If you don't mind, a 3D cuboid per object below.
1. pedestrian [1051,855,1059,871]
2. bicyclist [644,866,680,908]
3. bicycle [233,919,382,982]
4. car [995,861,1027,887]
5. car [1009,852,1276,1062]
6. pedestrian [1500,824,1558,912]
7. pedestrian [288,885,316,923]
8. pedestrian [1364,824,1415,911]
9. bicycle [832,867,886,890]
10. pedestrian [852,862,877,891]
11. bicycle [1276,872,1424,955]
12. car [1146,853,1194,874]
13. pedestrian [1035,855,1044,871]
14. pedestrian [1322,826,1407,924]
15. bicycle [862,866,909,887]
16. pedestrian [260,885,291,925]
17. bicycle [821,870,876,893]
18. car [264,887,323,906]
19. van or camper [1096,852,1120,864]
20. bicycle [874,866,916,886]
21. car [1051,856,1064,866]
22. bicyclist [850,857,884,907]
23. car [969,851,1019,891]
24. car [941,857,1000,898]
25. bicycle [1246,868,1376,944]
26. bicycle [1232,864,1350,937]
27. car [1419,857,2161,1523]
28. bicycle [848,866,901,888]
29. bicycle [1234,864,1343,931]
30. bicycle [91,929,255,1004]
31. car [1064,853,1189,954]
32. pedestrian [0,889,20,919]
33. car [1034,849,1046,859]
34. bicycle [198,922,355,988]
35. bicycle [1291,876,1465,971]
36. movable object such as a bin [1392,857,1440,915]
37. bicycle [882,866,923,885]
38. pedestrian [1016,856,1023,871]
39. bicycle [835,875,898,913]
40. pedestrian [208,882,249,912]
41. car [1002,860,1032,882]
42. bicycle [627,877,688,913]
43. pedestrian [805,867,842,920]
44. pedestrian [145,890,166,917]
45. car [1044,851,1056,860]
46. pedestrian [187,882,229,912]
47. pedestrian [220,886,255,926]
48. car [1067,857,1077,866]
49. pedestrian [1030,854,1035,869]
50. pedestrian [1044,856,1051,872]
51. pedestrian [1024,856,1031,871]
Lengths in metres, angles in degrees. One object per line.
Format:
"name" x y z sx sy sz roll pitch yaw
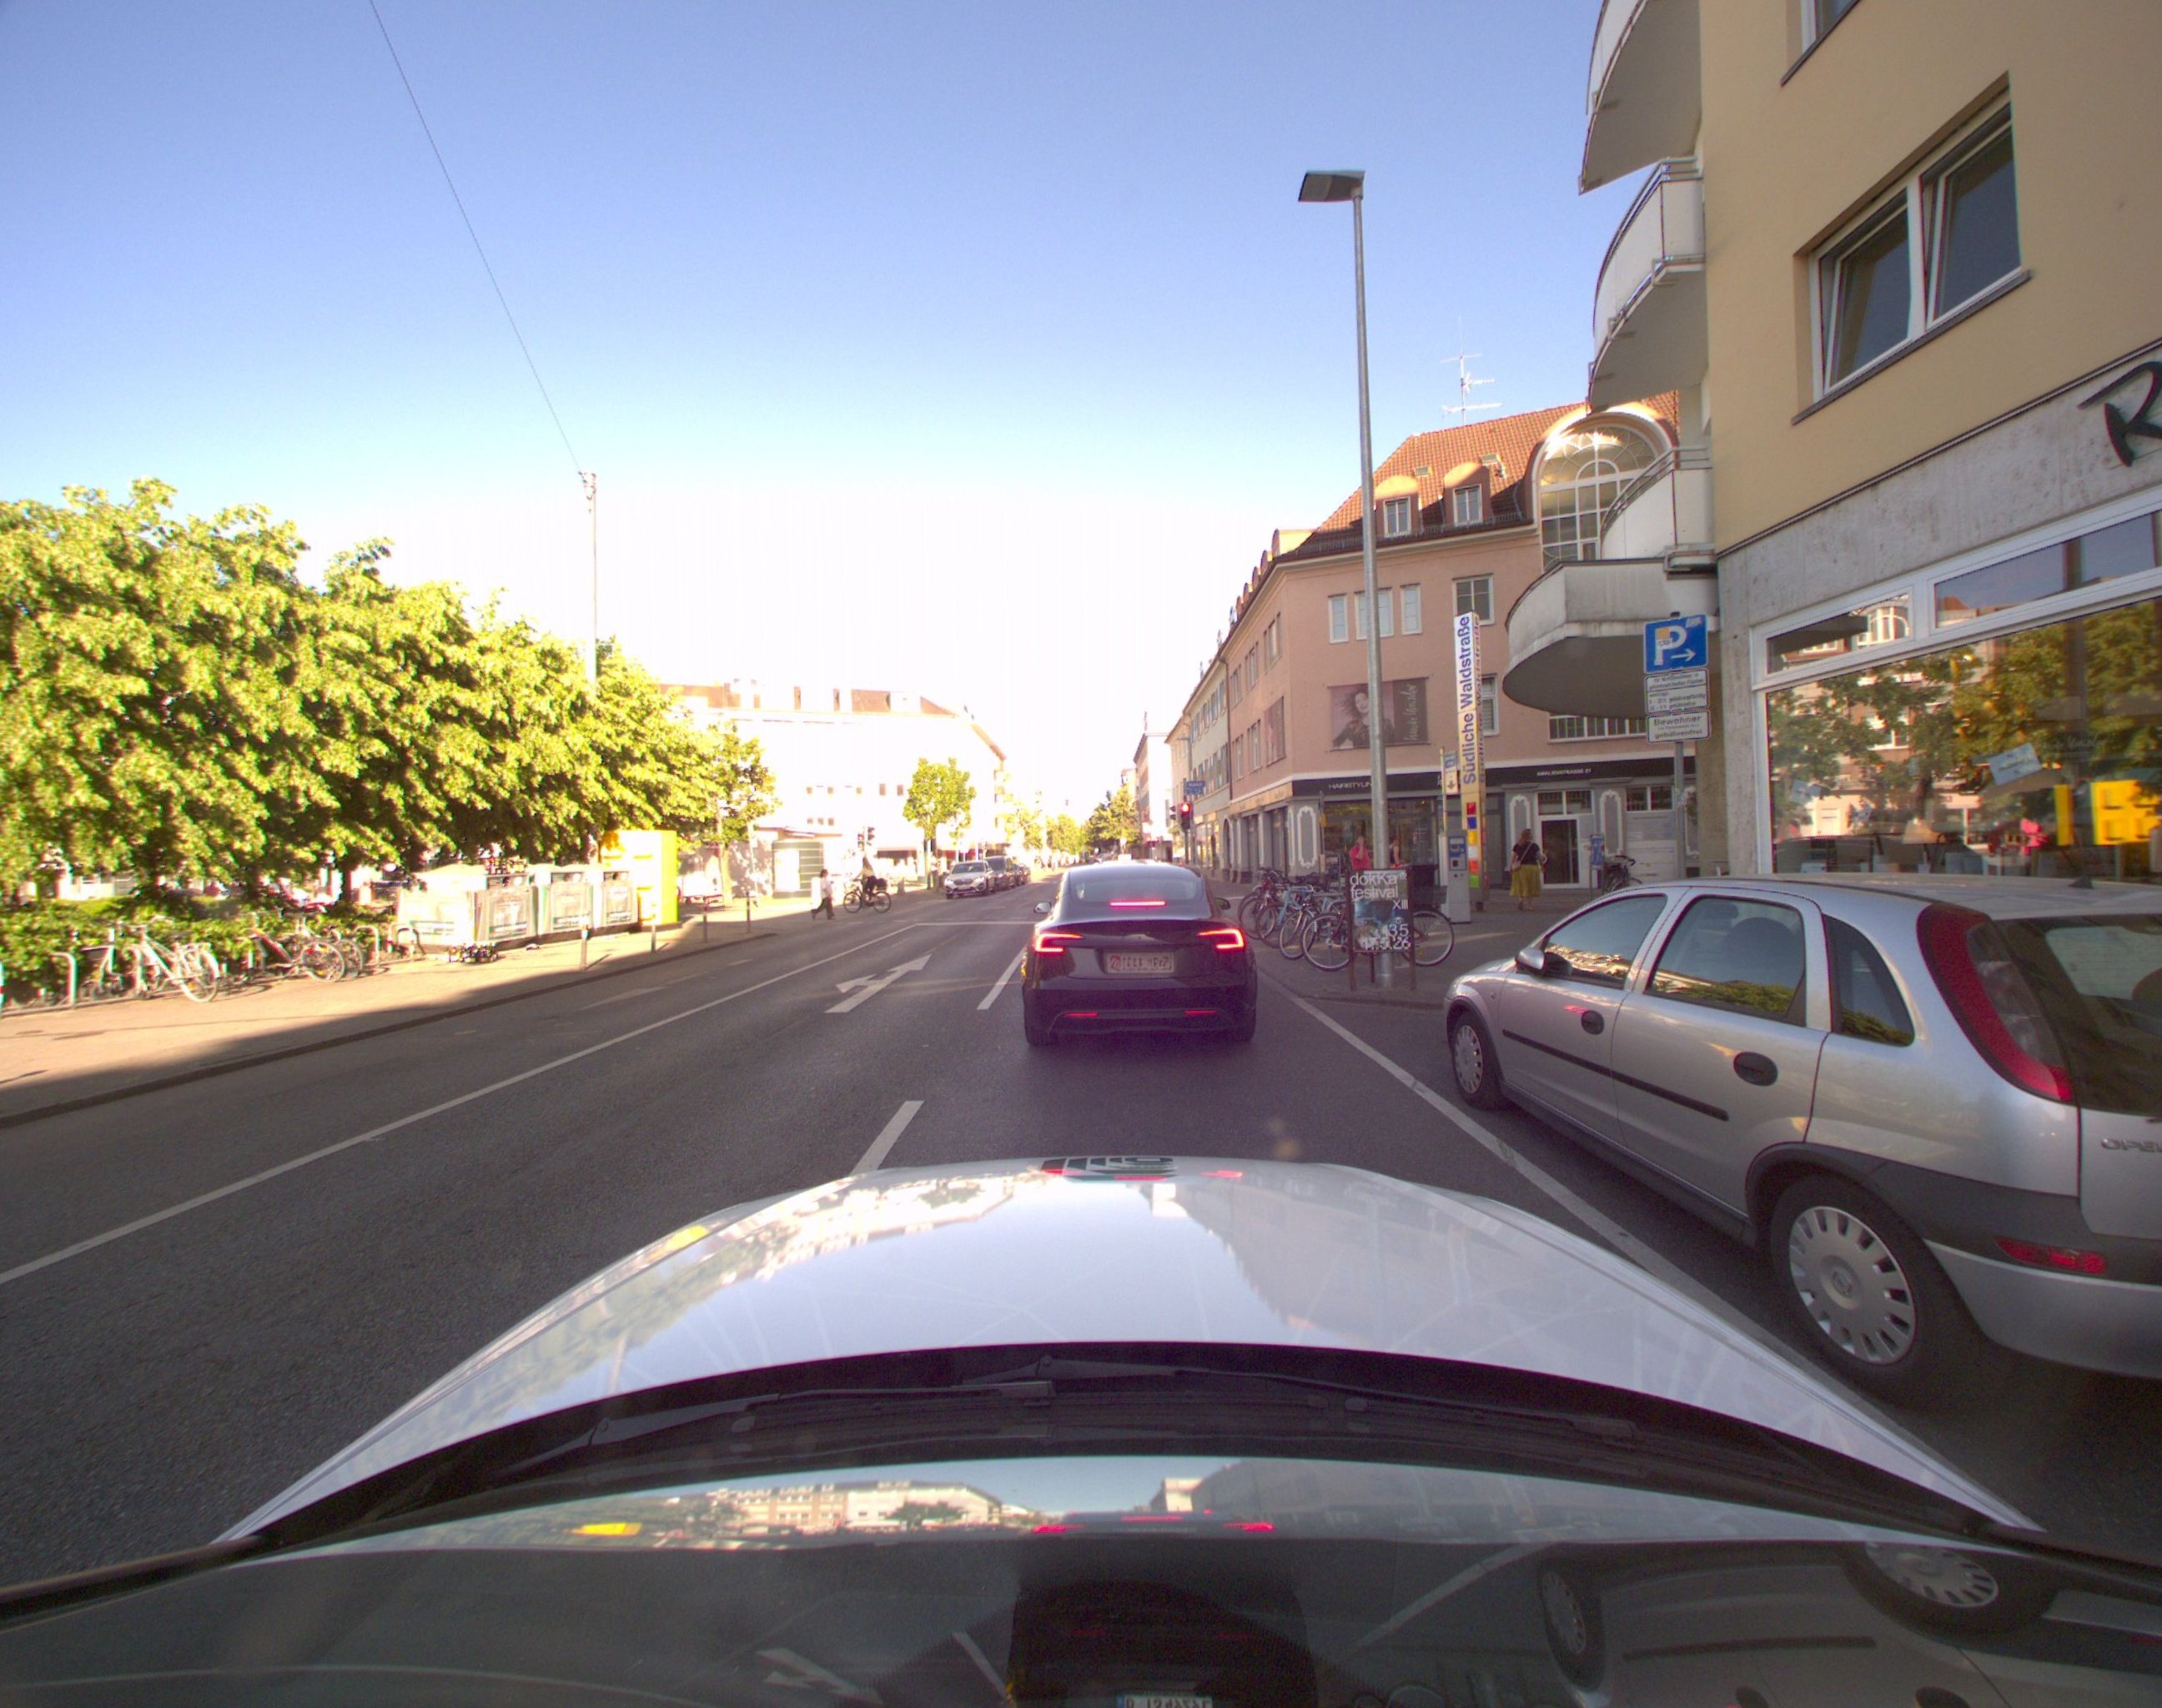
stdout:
"pedestrian" -3.053 1.095 96.015 0.774 1.868 1.005 0 -1 -11
"bicyclist" -14.938 1.168 29.039 0.947 1.484 0.611 -1 -1 17
"bicycle" -11.462 1.422 12.099 1.663 0.859 0.469 0 -1 -5
"car" -4.258 1.204 50.044 1.455 1.430 3.607 -5 -1 2
"car" 0.495 0.736 7.880 1.843 1.447 4.453 0 0 2
"pedestrian" 9.389 0.283 17.091 0.717 1.754 0.789 -4 -1 8
"pedestrian" -31.993 2.046 33.438 0.553 1.508 0.611 -1 -1 17
"pedestrian" 6.898 0.309 18.246 0.678 1.849 0.894 -5 -1 3
"bicycle" -12.395 1.369 45.585 2.772 1.274 0.933 0 -1 -2
"pedestrian" -12.491 1.275 46.976 1.268 1.611 1.087 0 -1 -25
"bicycle" 3.655 0.795 11.153 1.806 1.060 0.653 -1 0 3
"car" 8.146 0.873 74.647 4.006 1.867 1.686 -1 0 -20
"pedestrian" -4.853 1.099 94.930 0.726 1.868 0.796 -1 -1 30
"pedestrian" 5.270 0.376 15.131 1.067 1.719 1.100 0 -1 -42
"bicycle" -12.055 1.386 50.299 2.655 1.259 0.942 0 -1 -1
"pedestrian" -32.527 2.048 32.902 0.827 1.520 0.782 -1 -1 38
"bicycle" -12.326 1.437 43.242 2.652 1.195 0.942 0 -1 -1
"car" -55.830 2.995 57.788 2.758 1.266 1.234 0 -1 -23
"van or camper" 5.635 0.855 167.657 4.832 2.438 1.851 -1 0 1
"bicycle" -12.000 1.400 52.574 2.535 1.251 0.942 0 -1 -1
"car" -4.857 1.325 166.805 2.405 1.970 4.679 -1 0 2
"bicyclist" -7.165 0.940 27.288 0.820 1.614 0.581 -3 0 11
"car" -4.497 0.834 42.918 1.938 1.947 4.822 -1 0 2
"car" -4.885 1.014 36.595 1.818 1.565 4.302 -5 -1 2
"bicycle" 3.517 0.789 12.564 1.806 1.102 0.653 -1 0 3
"bicycle" 3.495 0.773 13.639 1.806 1.152 0.653 -1 0 3
"car" 2.959 0.736 3.543 1.578 1.426 3.581 0 -1 2
"bicycle" -12.156 1.362 47.981 2.867 1.270 0.942 0 -1 -1
"bicycle" 3.736 0.781 14.768 1.806 1.152 0.653 -1 0 3
"bicycle" -11.463 1.415 10.303 1.560 0.886 0.470 0 -1 1
"car" 0.741 0.747 14.304 1.843 1.482 4.453 0 0 2
"pedestrian" -66.774 3.094 50.217 1.305 1.842 1.091 0 -1 -31
"car" -9.018 -0.010 180.135 2.266 2.014 4.720 0 -1 3
"bicycle" -11.428 1.421 11.600 1.667 0.859 0.469 0 -1 -5
"bicycle" 3.635 0.843 10.080 1.875 1.044 0.653 -2 0 3
"movable object such as a bin" 6.742 0.639 16.419 0.633 1.103 0.728 -4 -1 5
"bicycle" -12.054 1.420 55.001 2.535 1.251 0.942 0 -1 -1
"pedestrian" -7.339 1.136 97.329 0.734 1.868 0.787 0 -1 -15
"bicycle" -7.187 1.342 27.285 1.941 1.158 0.577 -3 -1 11
"pedestrian" -36.539 1.827 34.921 0.857 1.214 0.904 -1 -1 17
"car" -4.428 1.154 57.004 1.688 1.390 3.915 -3 -1 0
"bicycle" -15.108 1.452 29.072 1.979 1.223 0.632 0 -2 16
"pedestrian" -7.703 1.161 24.388 0.919 1.543 0.694 0 -1 -4
"pedestrian" -52.177 2.787 45.930 0.629 1.524 0.573 0 -1 -34
"car" -7.162 0.294 188.730 2.266 2.014 4.720 0 -1 3
"pedestrian" -36.302 1.789 33.885 0.926 1.214 0.873 -1 -1 18
"pedestrian" -33.771 2.063 32.624 0.928 1.520 0.924 0 -1 -43
"car" -1.996 1.781 187.426 2.124 1.970 4.135 -1 0 2
"pedestrian" -6.216 0.978 104.222 0.693 1.868 0.658 0 -1 -3
"pedestrian" -3.947 1.164 96.369 0.695 1.868 0.906 0 -1 -10
"pedestrian" -6.434 1.130 97.408 0.734 1.868 0.787 0 -1 -15
